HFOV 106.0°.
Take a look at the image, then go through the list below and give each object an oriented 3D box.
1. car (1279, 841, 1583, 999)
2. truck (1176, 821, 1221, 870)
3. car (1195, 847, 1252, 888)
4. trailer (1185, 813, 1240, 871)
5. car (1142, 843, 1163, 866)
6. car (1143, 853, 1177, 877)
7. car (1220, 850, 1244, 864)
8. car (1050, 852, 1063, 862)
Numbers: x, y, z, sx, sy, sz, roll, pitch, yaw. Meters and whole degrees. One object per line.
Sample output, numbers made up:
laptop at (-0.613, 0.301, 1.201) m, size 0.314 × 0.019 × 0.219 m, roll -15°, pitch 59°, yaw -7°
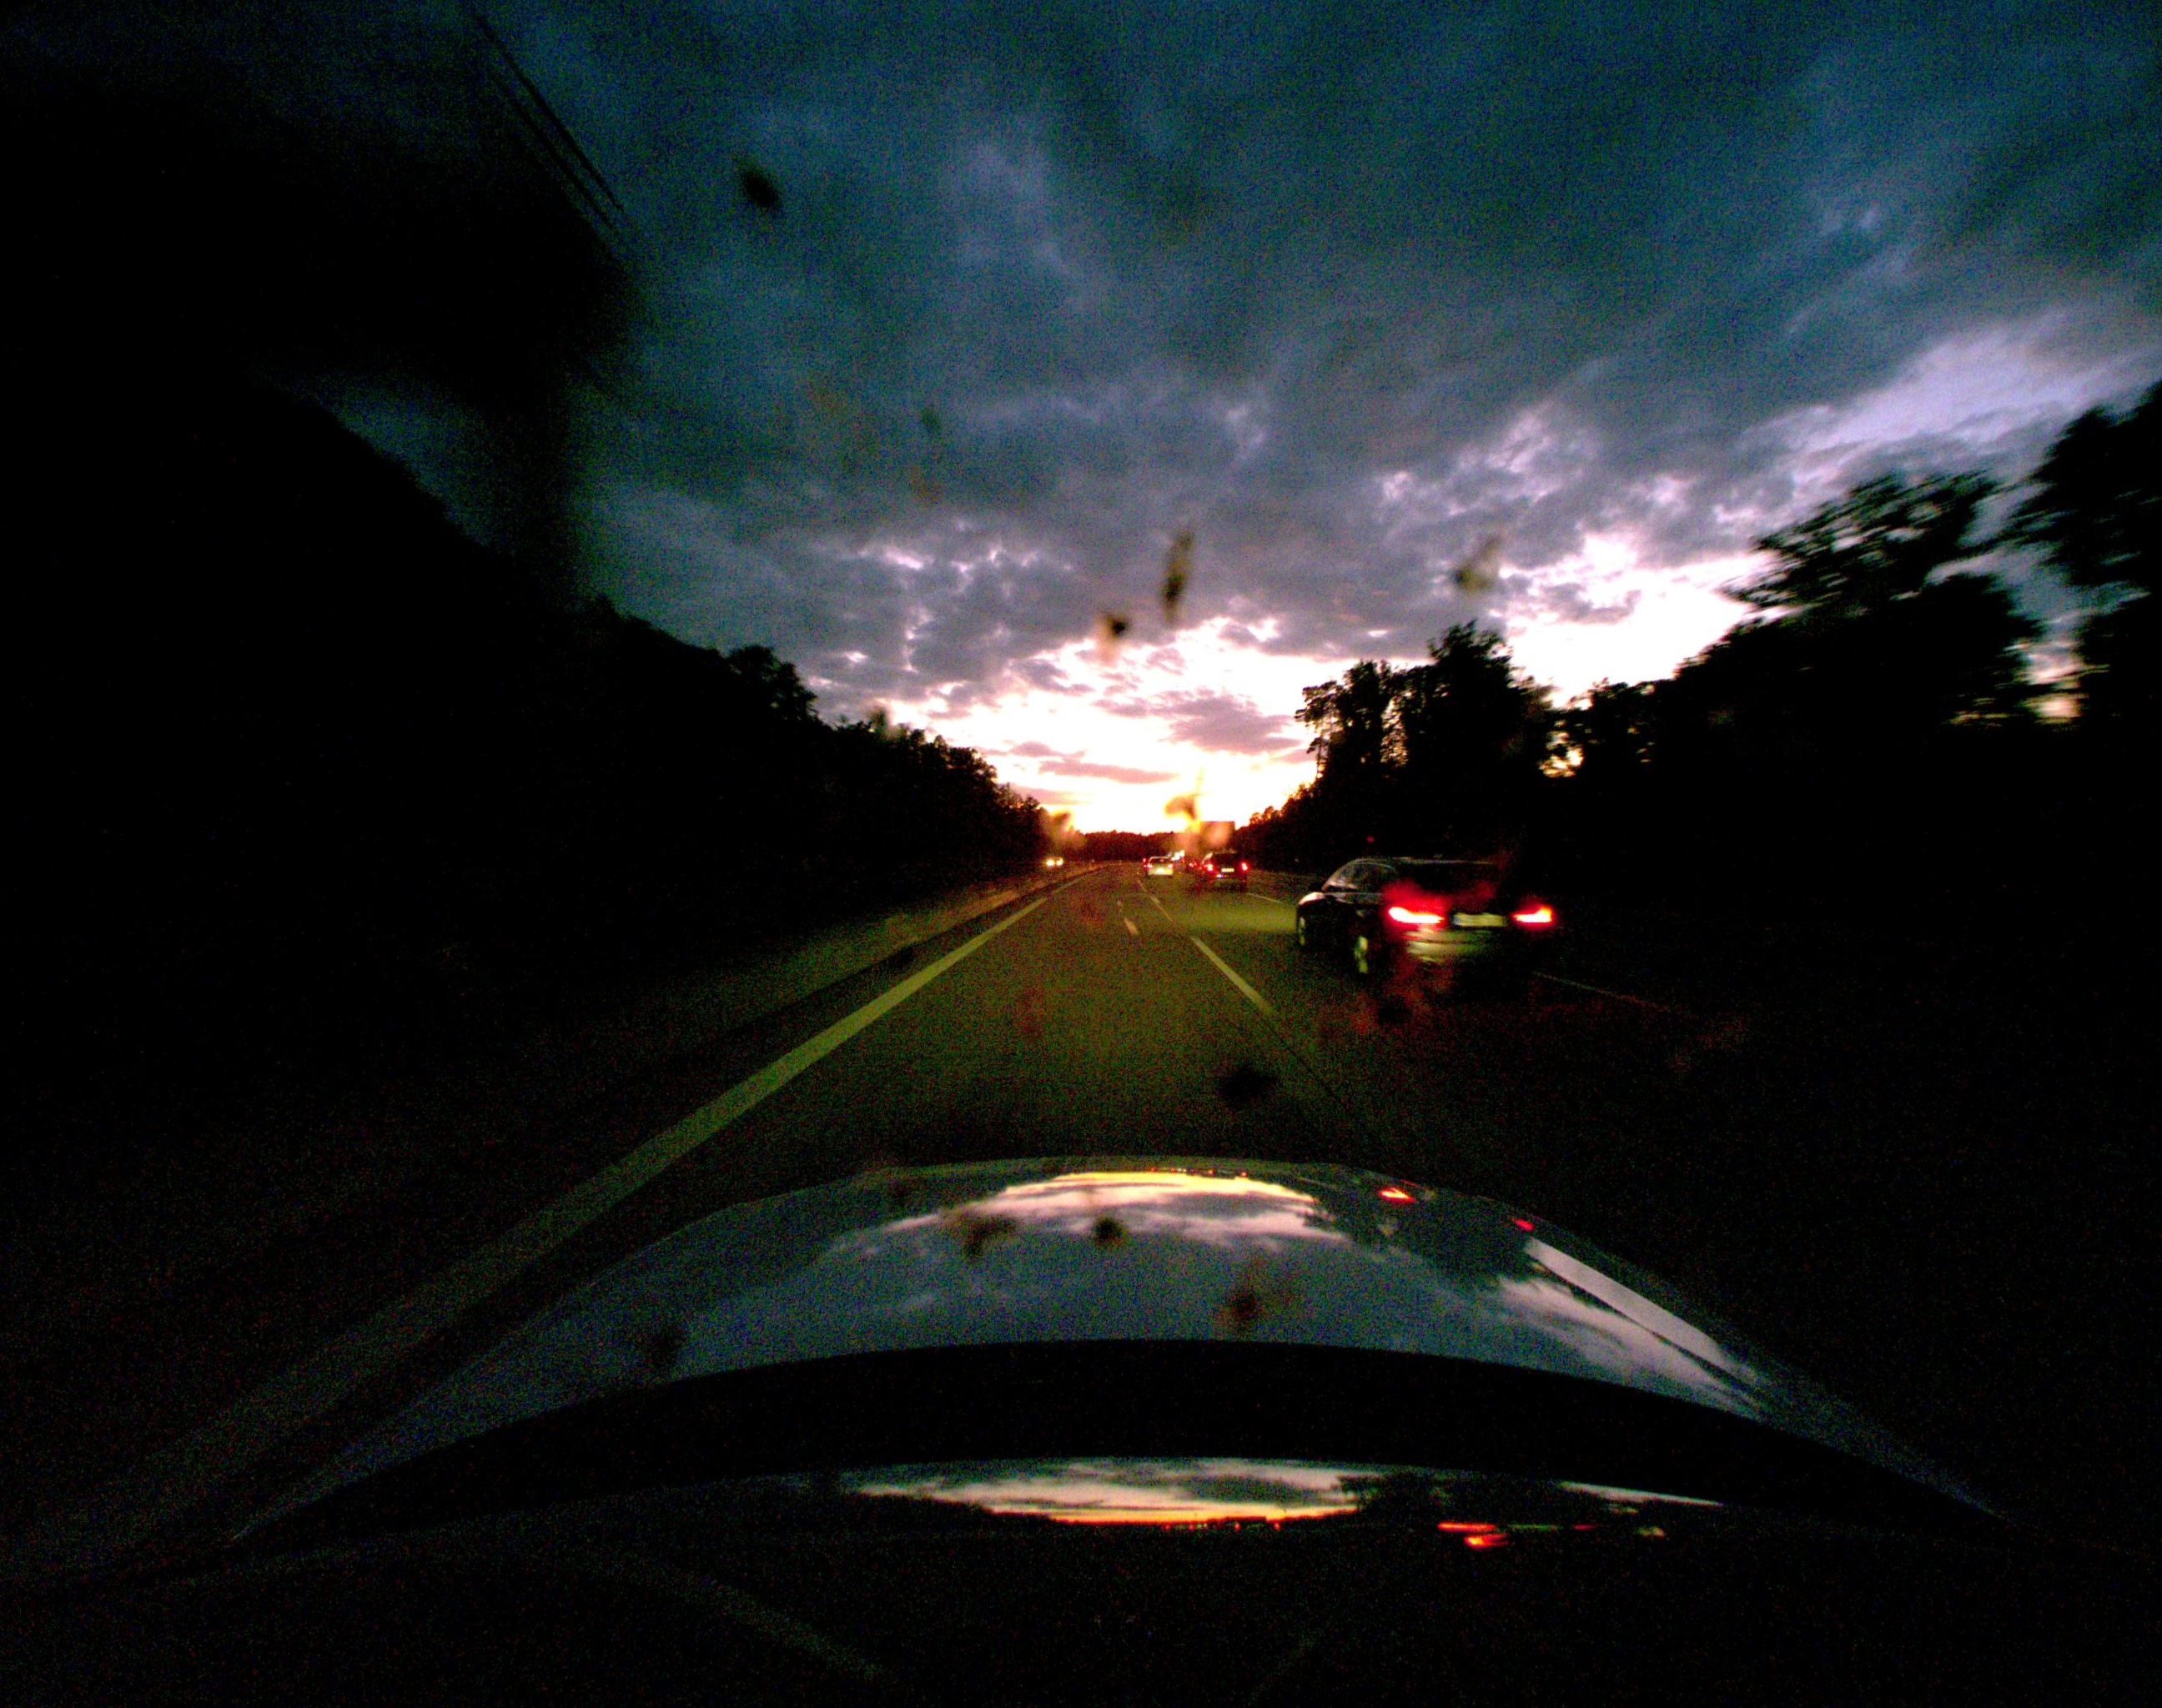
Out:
car at (4.169, 0.625, 10.837) m, size 1.902 × 1.537 × 5.233 m, roll -1°, pitch 1°, yaw 1°
truck at (10.442, -0.655, 73.479) m, size 2.873 × 4.101 × 10.837 m, roll -1°, pitch -1°, yaw 2°
car at (6.236, 0.546, 36.158) m, size 1.895 × 1.643 × 5.057 m, roll -1°, pitch 0°, yaw 3°
trailer at (9.997, -0.778, 62.922) m, size 2.896 × 4.101 × 10.363 m, roll -1°, pitch -1°, yaw 2°
car at (7.882, 0.042, 89.389) m, size 2.155 × 2.419 × 5.573 m, roll -1°, pitch -1°, yaw 6°
car at (5.212, 0.714, 54.219) m, size 1.854 × 1.442 × 3.719 m, roll -1°, pitch 1°, yaw -1°
car at (16.056, 0.354, 86.649) m, size 1.852 × 1.442 × 4.113 m, roll -1°, pitch 0°, yaw 2°
car at (-3.644, 0.412, 121.512) m, size 1.611 × 1.405 × 4.319 m, roll -1°, pitch 0°, yaw 4°
